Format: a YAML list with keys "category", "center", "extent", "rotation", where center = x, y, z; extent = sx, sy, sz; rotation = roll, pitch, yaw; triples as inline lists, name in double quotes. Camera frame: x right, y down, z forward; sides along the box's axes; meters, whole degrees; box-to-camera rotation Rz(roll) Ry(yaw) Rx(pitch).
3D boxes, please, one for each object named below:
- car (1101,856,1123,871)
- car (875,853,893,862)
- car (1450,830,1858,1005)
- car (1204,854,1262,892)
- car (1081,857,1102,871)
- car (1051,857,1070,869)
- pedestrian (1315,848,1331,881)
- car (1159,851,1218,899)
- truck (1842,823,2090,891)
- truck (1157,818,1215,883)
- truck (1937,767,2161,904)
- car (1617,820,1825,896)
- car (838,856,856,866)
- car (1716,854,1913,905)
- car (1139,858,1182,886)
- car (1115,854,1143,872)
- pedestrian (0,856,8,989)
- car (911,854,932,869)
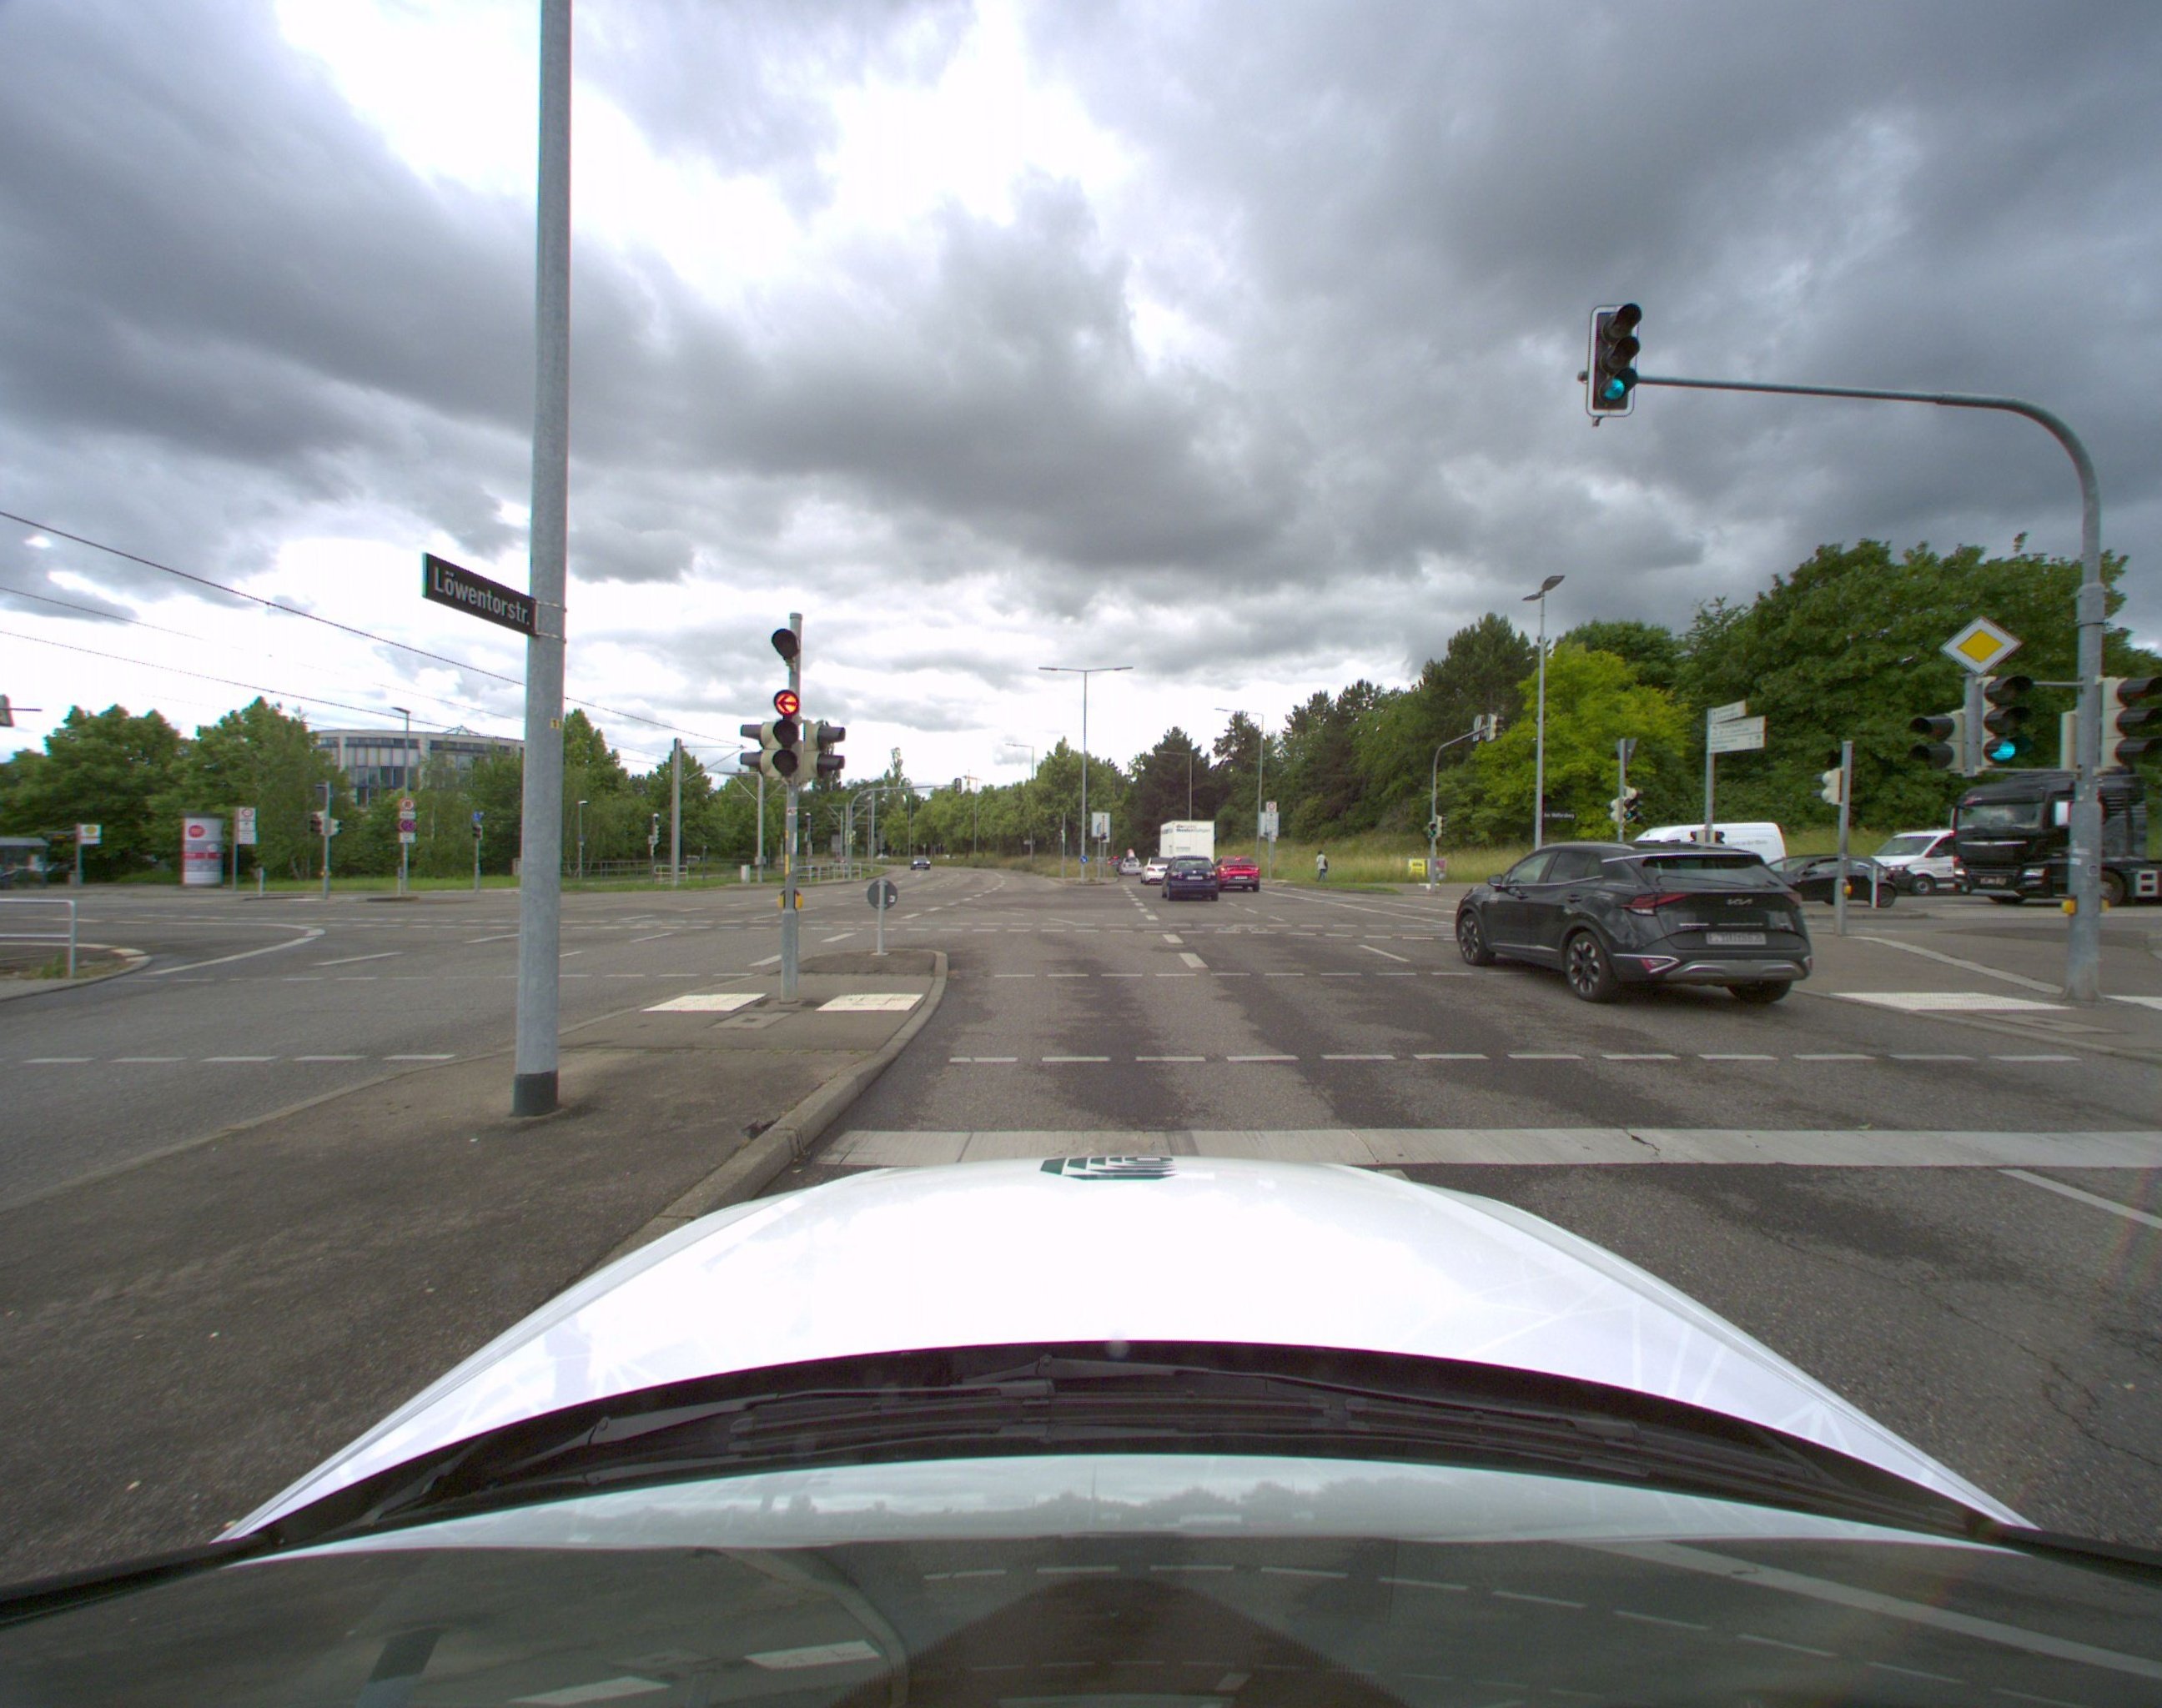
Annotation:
- category: "car"
  center: [3.090, 0.959, 81.809]
  extent: [1.623, 1.493, 3.826]
  rotation: [0, 0, -9]
- category: "car"
  center: [-38.325, 0.672, 158.122]
  extent: [3.756, 1.711, 1.642]
  rotation: [-1, -1, 43]
- category: "car"
  center: [6.013, 0.583, 9.303]
  extent: [1.786, 1.530, 4.220]
  rotation: [0, -1, 2]
- category: "car"
  center: [6.644, 0.784, 36.039]
  extent: [1.840, 1.530, 4.378]
  rotation: [0, 0, 2]
- category: "car"
  center: [1.155, 1.110, 90.023]
  extent: [1.584, 1.493, 3.430]
  rotation: [0, 0, -11]
- category: "car"
  center: [-2.666, 1.121, 104.753]
  extent: [1.748, 1.508, 4.030]
  rotation: [0, 0, -12]
- category: "pedestrian"
  center: [12.073, 0.531, 40.649]
  extent: [0.640, 1.662, 0.715]
  rotation: [-1, -1, 8]
- category: "car"
  center: [3.797, 0.734, 29.287]
  extent: [1.658, 1.598, 3.997]
  rotation: [0, -1, 1]
- category: "truck"
  center: [30.940, 0.119, 28.651]
  extent: [5.992, 2.230, 2.165]
  rotation: [0, -1, 5]
- category: "truck"
  center: [6.824, -0.234, 54.496]
  extent: [2.793, 3.903, 10.184]
  rotation: [0, 0, 1]
- category: "truck"
  center: [27.996, -0.486, 22.306]
  extent: [5.971, 3.486, 2.694]
  rotation: [-1, -1, 4]
- category: "car"
  center: [22.897, 0.156, 29.326]
  extent: [5.780, 2.630, 2.002]
  rotation: [0, -1, 3]
- category: "car"
  center: [-40.100, 1.227, 139.480]
  extent: [1.884, 1.791, 3.960]
  rotation: [0, -1, -32]
- category: "car"
  center: [20.330, 0.698, 22.708]
  extent: [3.859, 1.338, 1.698]
  rotation: [0, -1, 4]
- category: "car"
  center: [4.186, 0.949, 43.560]
  extent: [1.794, 1.412, 4.315]
  rotation: [0, -1, -1]
- category: "car"
  center: [3.965, 0.757, 68.157]
  extent: [1.819, 1.506, 3.487]
  rotation: [0, -1, -6]
- category: "pedestrian"
  center: [-12.837, 0.795, 9.127]
  extent: [0.632, 1.536, 0.719]
  rotation: [0, -1, -2]
- category: "car"
  center: [-17.828, 0.817, 91.112]
  extent: [1.800, 1.587, 3.975]
  rotation: [0, -1, -18]
